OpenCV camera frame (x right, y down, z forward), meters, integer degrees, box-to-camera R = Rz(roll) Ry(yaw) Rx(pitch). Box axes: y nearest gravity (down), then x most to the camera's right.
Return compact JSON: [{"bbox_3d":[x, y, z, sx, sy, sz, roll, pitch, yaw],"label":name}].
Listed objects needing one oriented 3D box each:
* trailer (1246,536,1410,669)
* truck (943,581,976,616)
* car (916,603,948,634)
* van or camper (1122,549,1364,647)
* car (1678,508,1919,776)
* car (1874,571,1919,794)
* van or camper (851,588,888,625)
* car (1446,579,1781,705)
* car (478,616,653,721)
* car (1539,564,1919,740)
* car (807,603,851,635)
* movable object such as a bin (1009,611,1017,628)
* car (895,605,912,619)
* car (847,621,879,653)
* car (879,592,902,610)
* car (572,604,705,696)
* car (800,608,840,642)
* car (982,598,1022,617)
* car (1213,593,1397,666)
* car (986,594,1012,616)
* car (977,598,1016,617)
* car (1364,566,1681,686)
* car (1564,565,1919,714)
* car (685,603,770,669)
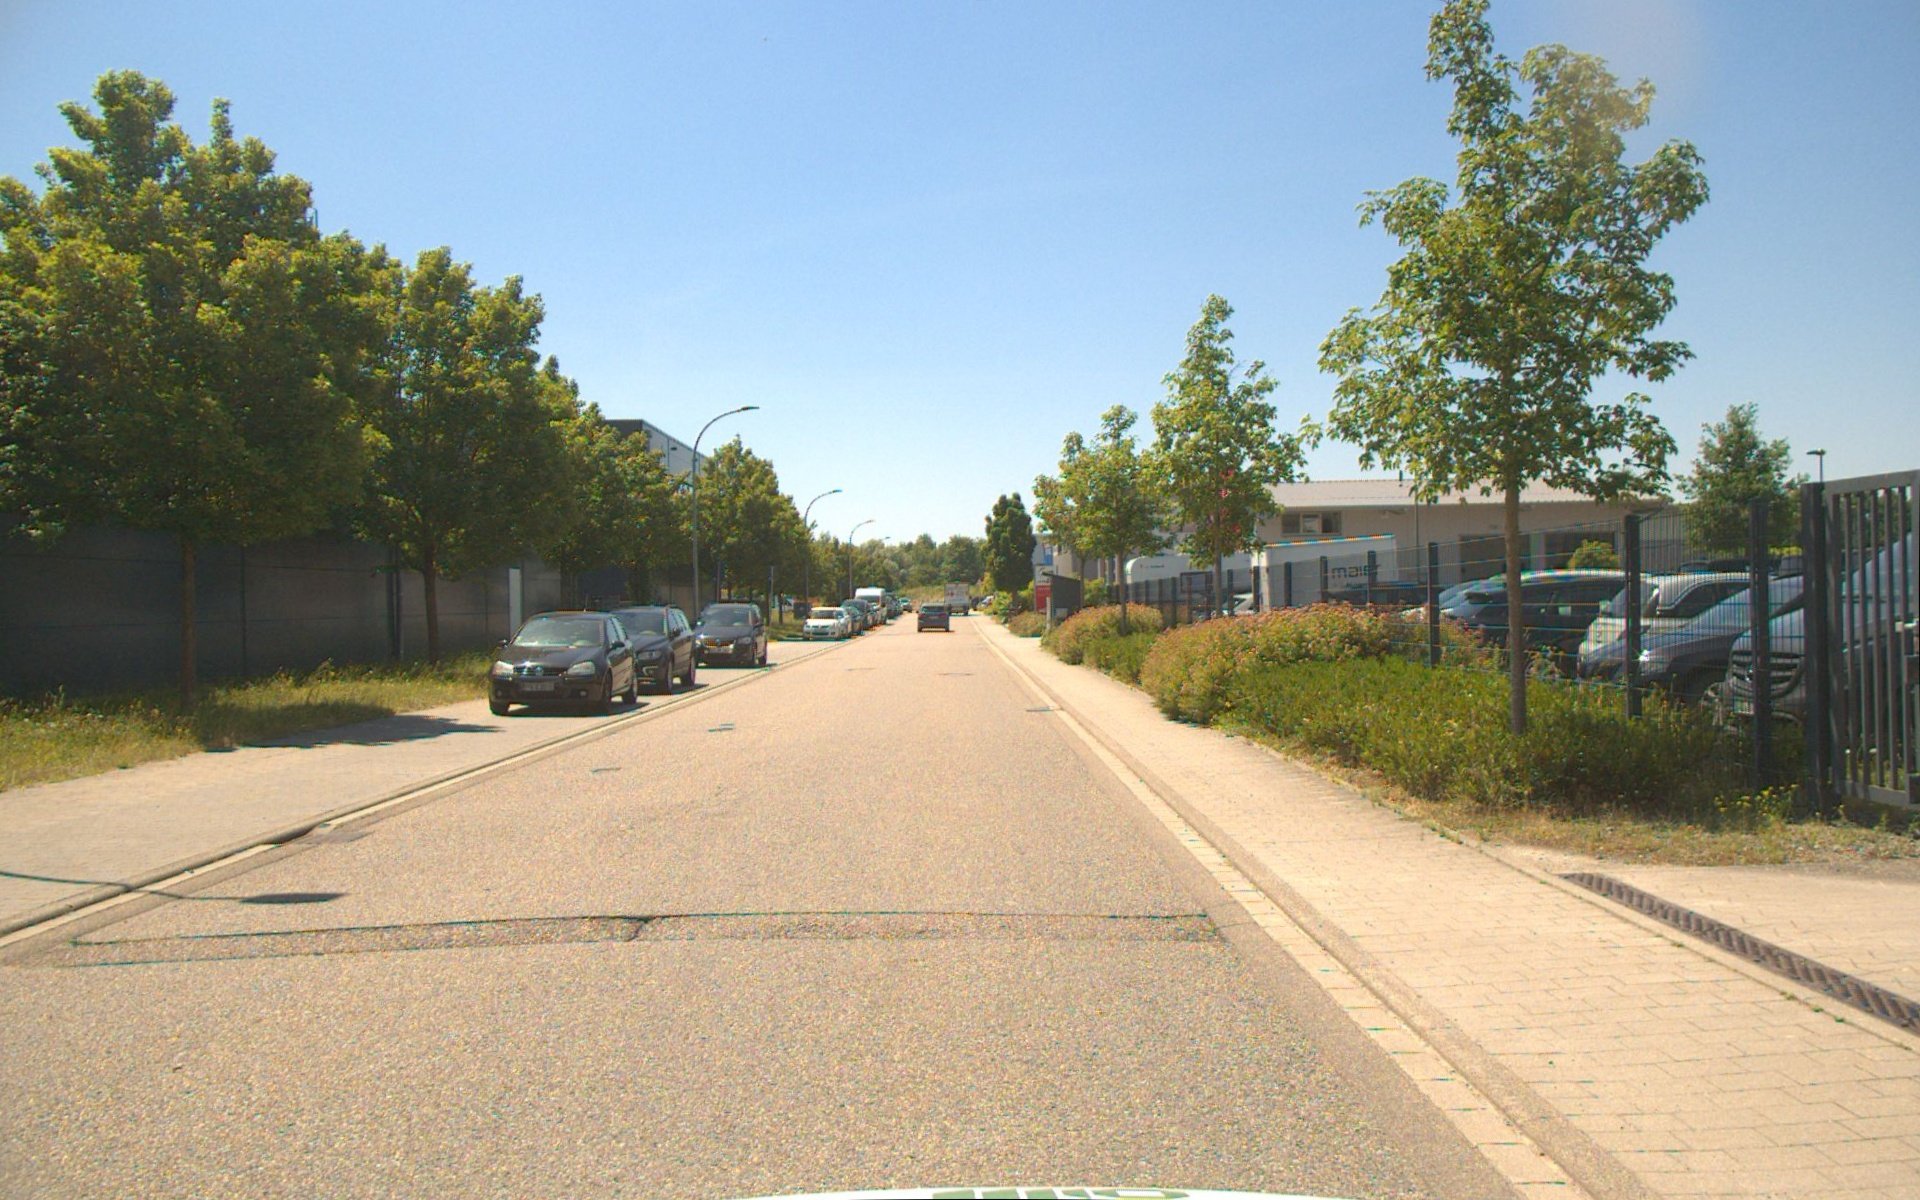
[{"bbox_3d":[7.210,0.044,32.558,2.767,2.445,1.418,-2,0,-5],"label":"trailer"},{"bbox_3d":[-0.036,-0.114,148.470,2.873,3.026,6.418,1,0,0],"label":"truck"},{"bbox_3d":[-1.553,1.044,92.467,1.753,1.652,3.808,1,0,-1],"label":"car"},{"bbox_3d":[8.276,-0.050,48.913,6.620,2.630,2.635,-2,0,-1],"label":"van or camper"},{"bbox_3d":[8.584,0.220,13.003,5.010,1.906,1.902,-2,0,-1],"label":"car"},{"bbox_3d":[8.278,0.465,10.351,4.130,1.447,1.764,-2,0,-2],"label":"car"},{"bbox_3d":[-6.394,0.486,117.176,2.035,2.526,6.132,1,0,2],"label":"van or camper"},{"bbox_3d":[8.246,0.518,21.078,3.590,1.447,1.644,-2,0,-1],"label":"car"},{"bbox_3d":[-6.001,0.992,25.627,1.735,1.456,4.200,-1,0,-1],"label":"car"},{"bbox_3d":[7.974,0.449,15.844,4.257,1.475,1.602,-2,0,-1],"label":"car"},{"bbox_3d":[-6.374,0.914,81.078,1.762,1.502,4.554,0,0,0],"label":"car"},{"bbox_3d":[3.363,1.246,105.357,0.520,1.071,0.845,-1,-1,1],"label":"movable object such as a bin"},{"bbox_3d":[-6.624,1.419,194.447,1.762,1.513,4.253,0,0,1],"label":"car"},{"bbox_3d":[-5.800,2.213,99.557,1.762,1.846,4.251,0,0,-1],"label":"car"},{"bbox_3d":[-6.292,0.079,149.955,1.762,1.513,4.253,0,0,1],"label":"car"},{"bbox_3d":[-6.124,0.905,32.010,1.735,1.640,4.850,0,0,-2],"label":"car"},{"bbox_3d":[-6.402,1.121,75.814,1.686,1.502,3.855,0,0,-3],"label":"car"},{"bbox_3d":[4.154,0.751,163.684,3.798,1.780,1.751,1,-1,-3],"label":"car"},{"bbox_3d":[7.943,0.663,38.238,3.765,1.465,1.805,-3,0,-4],"label":"car"},{"bbox_3d":[3.331,0.461,141.995,1.954,1.835,4.137,-1,0,-2],"label":"car"},{"bbox_3d":[3.692,0.757,166.104,3.798,1.780,1.751,1,-1,-3],"label":"car"},{"bbox_3d":[8.030,0.360,23.855,3.906,1.548,1.822,-2,0,-1],"label":"car"},{"bbox_3d":[9.259,0.405,18.673,4.192,1.470,1.754,-2,0,-1],"label":"car"},{"bbox_3d":[-6.100,0.923,43.735,1.735,1.640,4.246,0,0,-2],"label":"car"}]
